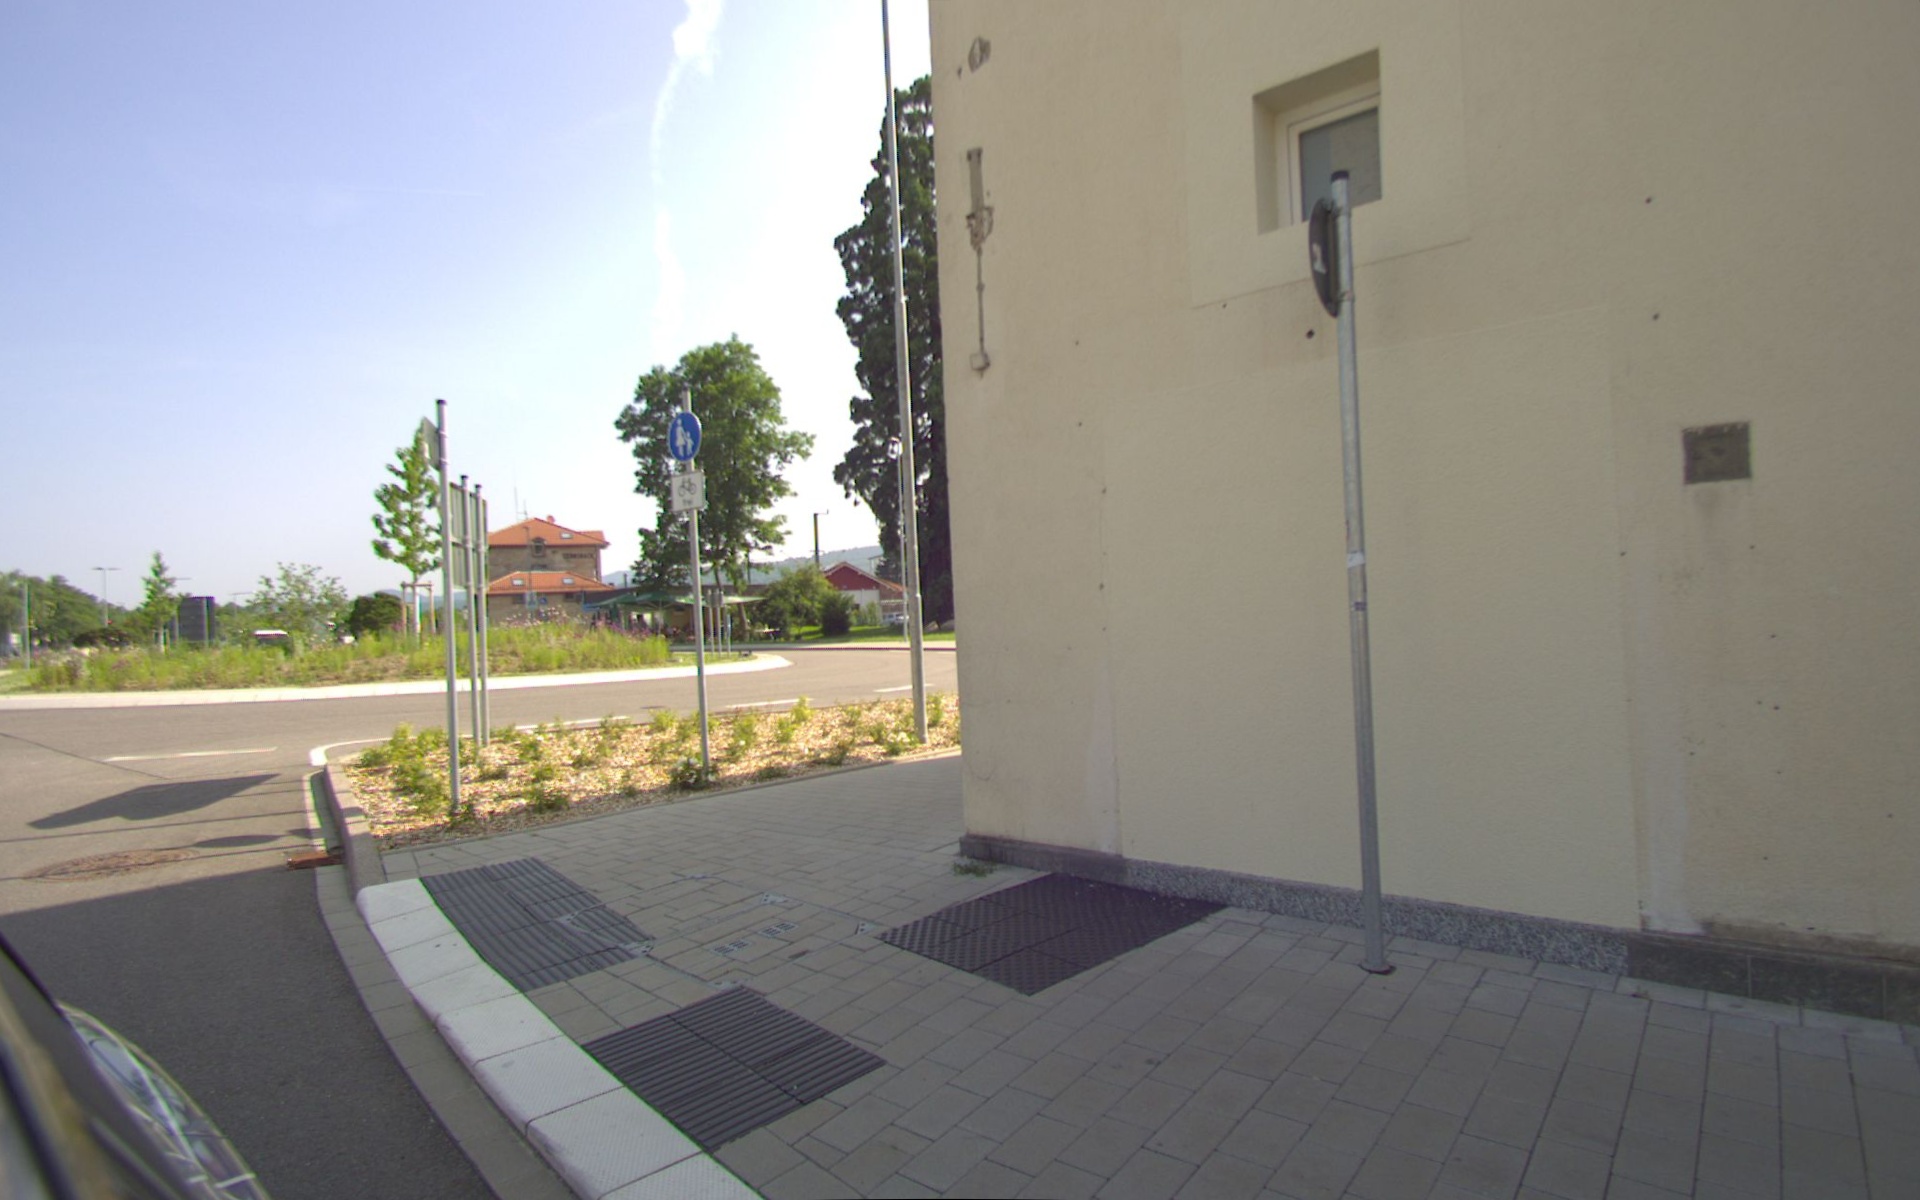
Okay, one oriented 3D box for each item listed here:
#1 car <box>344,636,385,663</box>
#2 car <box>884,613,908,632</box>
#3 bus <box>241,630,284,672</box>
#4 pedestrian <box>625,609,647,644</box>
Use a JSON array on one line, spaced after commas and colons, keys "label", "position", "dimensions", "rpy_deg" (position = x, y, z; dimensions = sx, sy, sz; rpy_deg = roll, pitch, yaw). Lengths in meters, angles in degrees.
[{"label": "car", "position": [-51.709, 4.257, 87.962], "dimensions": [1.945, 1.979, 5.173], "rpy_deg": [-5, 0, -19]}, {"label": "car", "position": [-5.862, 2.070, 92.612], "dimensions": [1.581, 1.505, 3.660], "rpy_deg": [-5, 1, -13]}, {"label": "bus", "position": [-62.769, 4.613, 90.981], "dimensions": [2.547, 3.353, 10.612], "rpy_deg": [-5, 0, -37]}, {"label": "pedestrian", "position": [-19.657, 1.598, 61.445], "dimensions": [0.706, 2.028, 0.850], "rpy_deg": [-5, 0, 29]}]
